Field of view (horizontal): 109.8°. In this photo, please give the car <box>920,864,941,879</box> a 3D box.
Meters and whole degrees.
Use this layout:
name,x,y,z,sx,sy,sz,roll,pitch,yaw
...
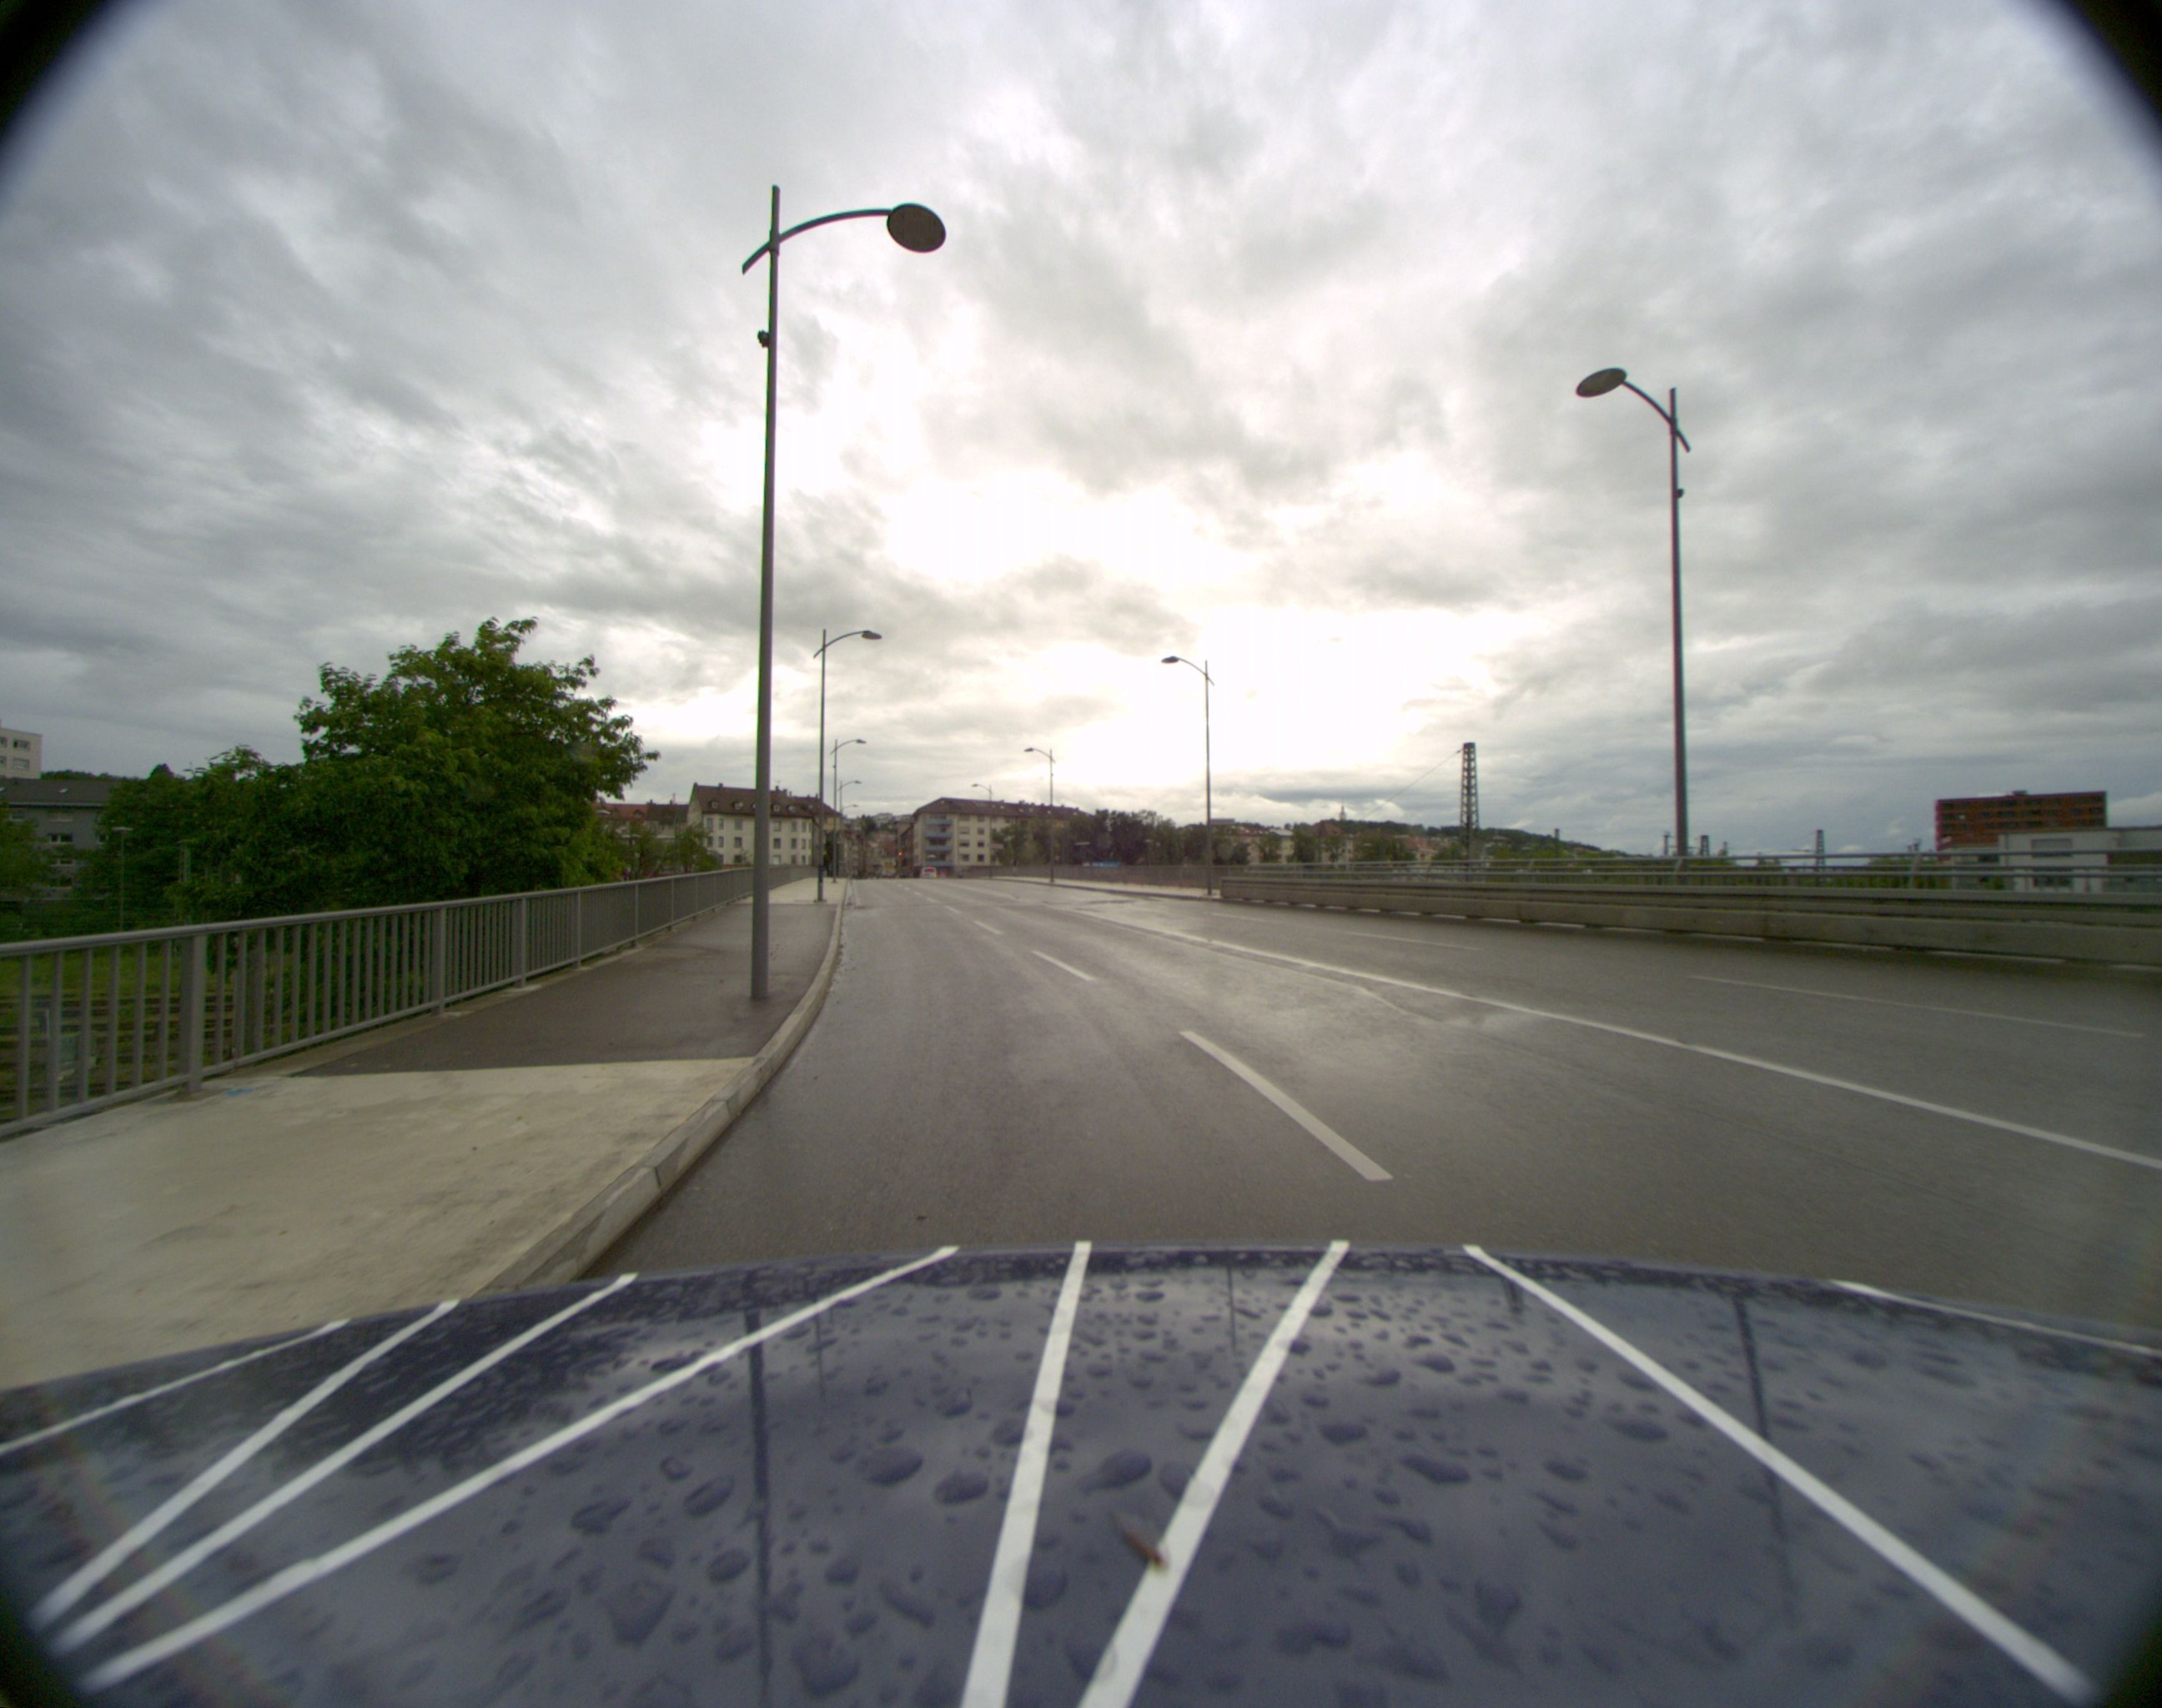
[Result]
name,x,y,z,sx,sy,sz,roll,pitch,yaw
car,-20.896,2.420,105.188,1.894,1.811,4.951,-3,-1,-21
